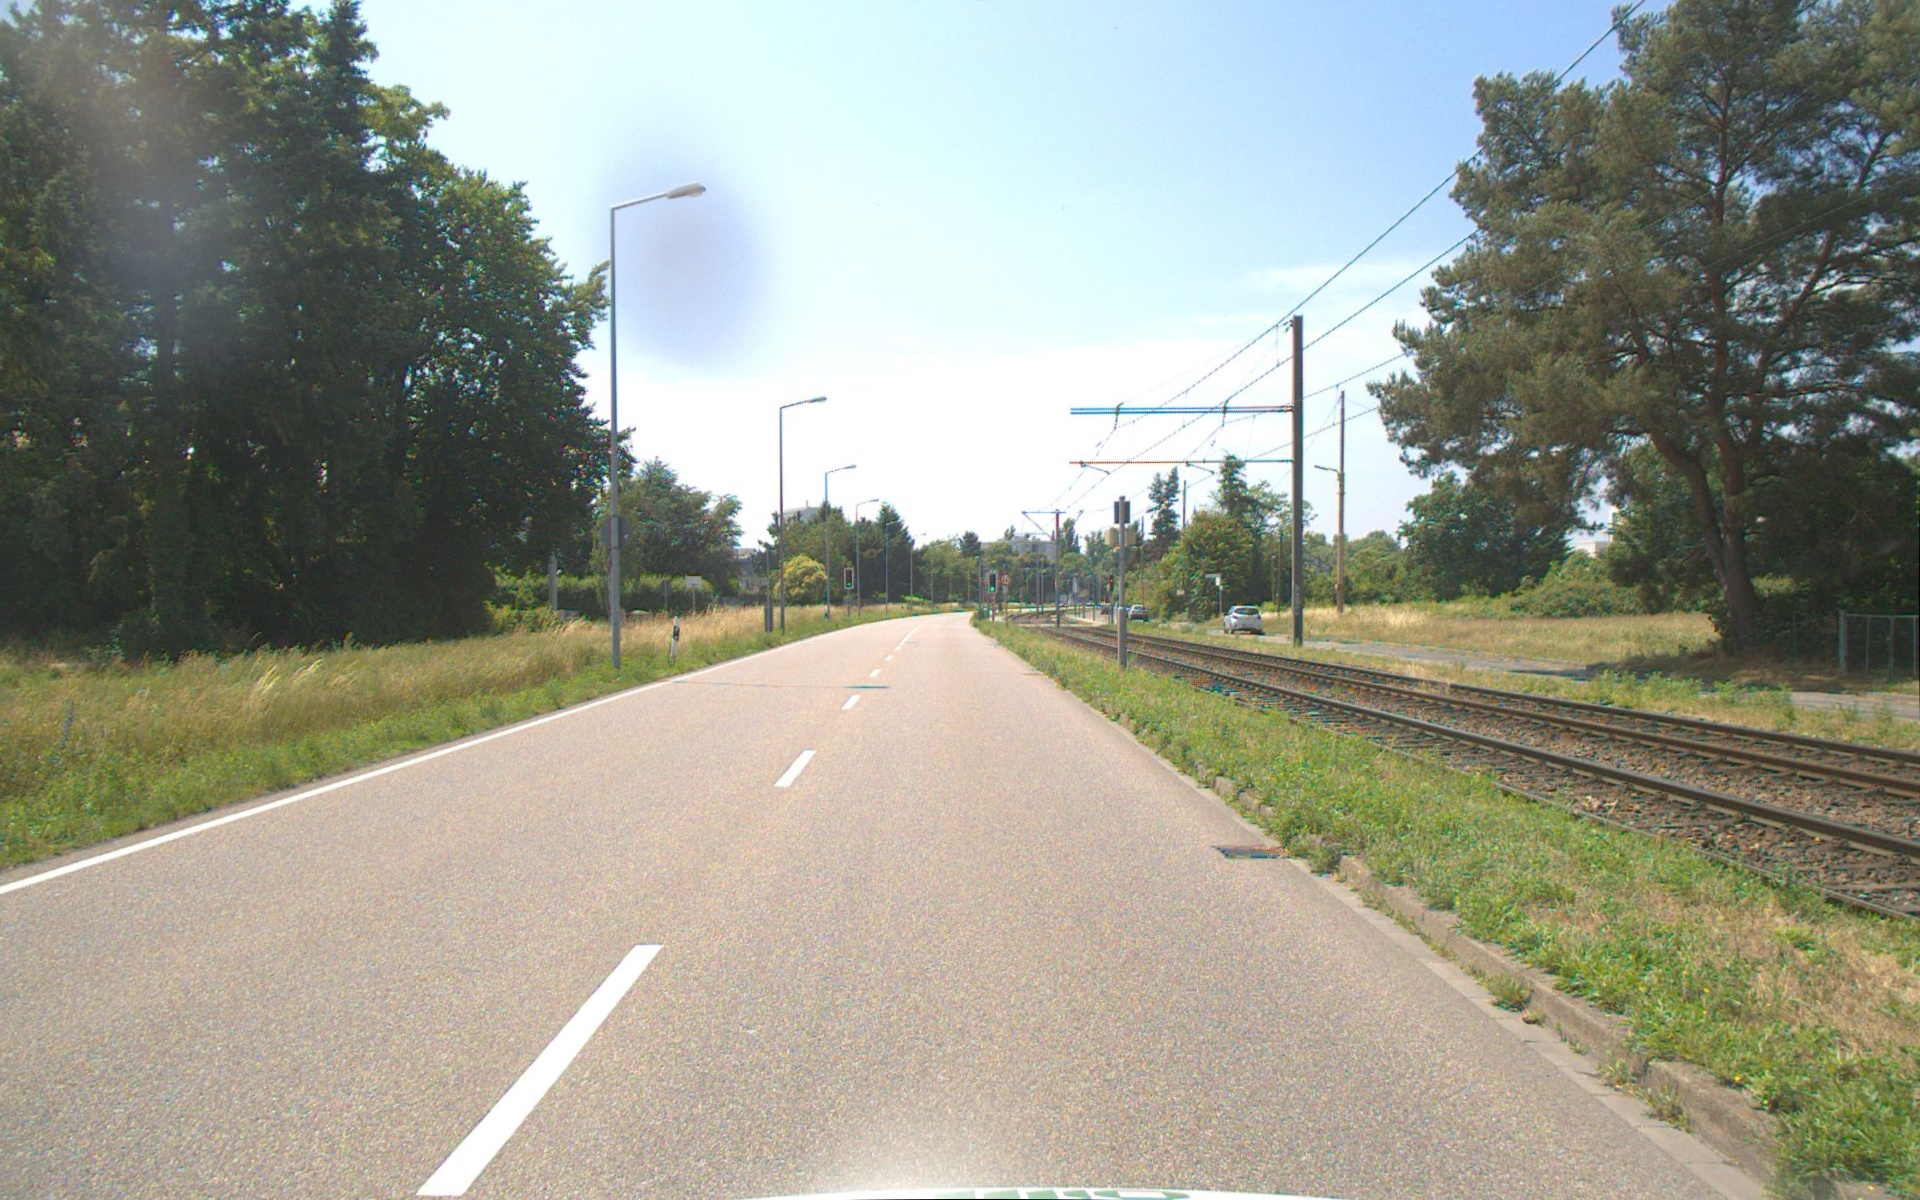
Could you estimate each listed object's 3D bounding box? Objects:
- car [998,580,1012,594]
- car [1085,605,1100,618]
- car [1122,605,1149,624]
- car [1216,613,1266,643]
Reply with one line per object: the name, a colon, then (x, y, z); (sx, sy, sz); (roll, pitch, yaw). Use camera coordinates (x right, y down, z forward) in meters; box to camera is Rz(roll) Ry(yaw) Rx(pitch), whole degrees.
car: (5.408, -1.535, 199.508); (1.520, 1.613, 3.568); (-1, -1, -1)
car: (18.695, 1.587, 233.207); (1.721, 1.780, 3.999); (-1, -1, -1)
car: (15.414, 1.282, 145.021); (1.876, 1.691, 3.999); (-1, -1, -1)
car: (15.182, 1.520, 89.533); (1.953, 1.534, 3.999); (-1, -1, -1)
